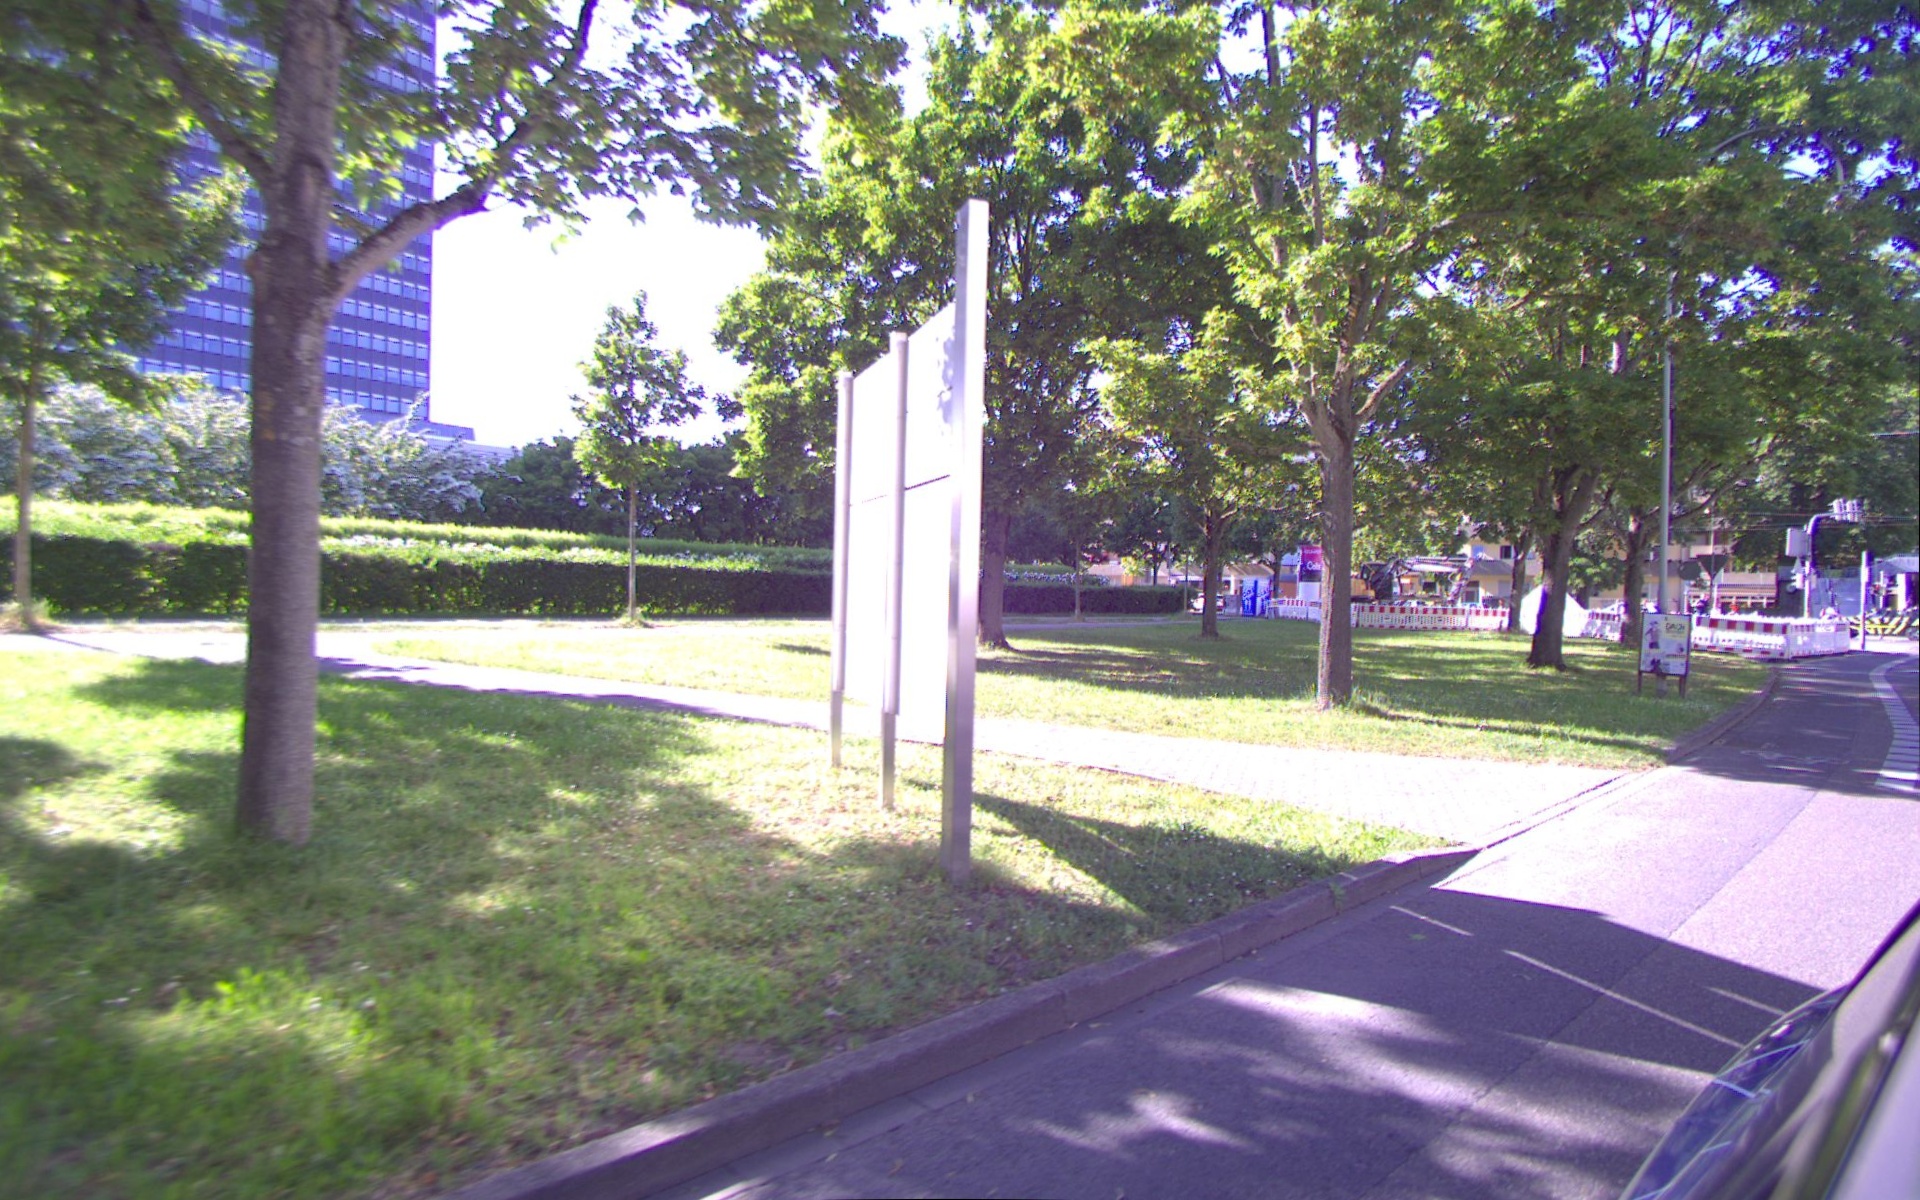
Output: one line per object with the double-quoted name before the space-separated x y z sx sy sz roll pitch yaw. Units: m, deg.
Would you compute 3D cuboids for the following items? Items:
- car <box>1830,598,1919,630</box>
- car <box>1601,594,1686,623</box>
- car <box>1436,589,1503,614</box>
"car" 45.280 0.667 49.142 1.894 1.424 4.318 0 2 -38
"car" 41.082 0.507 60.907 1.891 1.573 3.762 1 1 -29
"car" 35.724 0.098 70.999 1.891 1.573 3.762 1 1 -29
